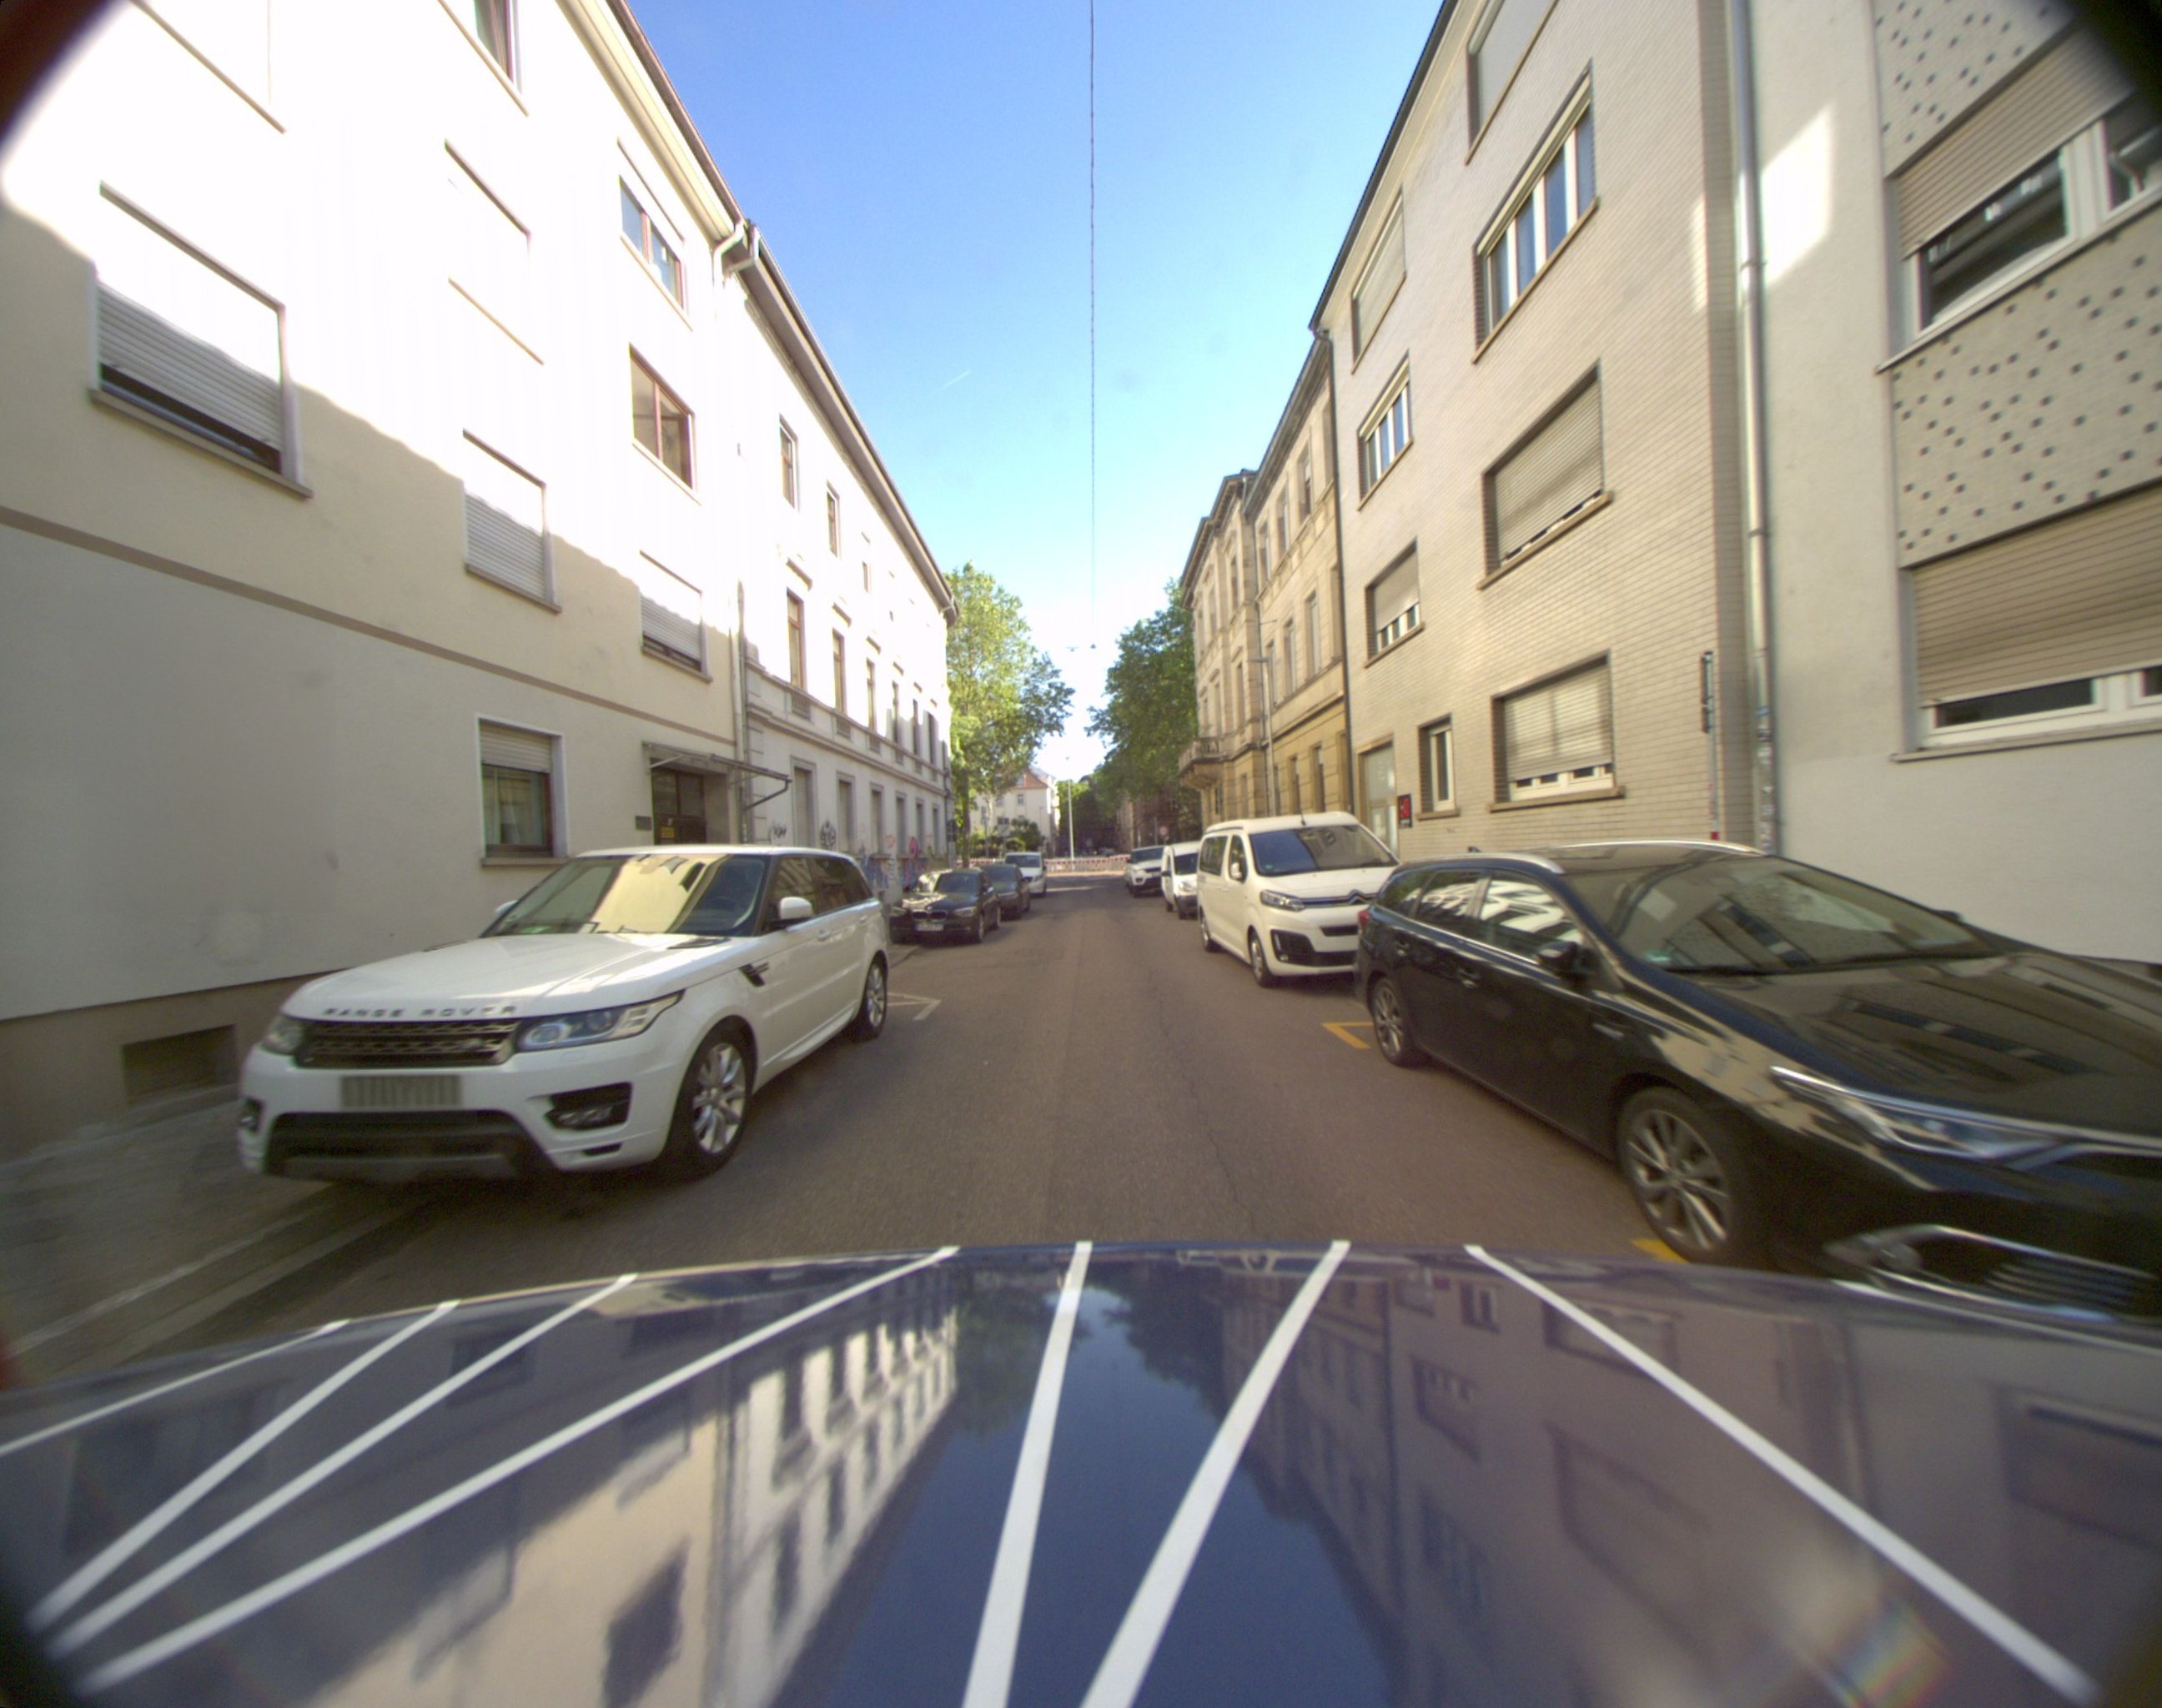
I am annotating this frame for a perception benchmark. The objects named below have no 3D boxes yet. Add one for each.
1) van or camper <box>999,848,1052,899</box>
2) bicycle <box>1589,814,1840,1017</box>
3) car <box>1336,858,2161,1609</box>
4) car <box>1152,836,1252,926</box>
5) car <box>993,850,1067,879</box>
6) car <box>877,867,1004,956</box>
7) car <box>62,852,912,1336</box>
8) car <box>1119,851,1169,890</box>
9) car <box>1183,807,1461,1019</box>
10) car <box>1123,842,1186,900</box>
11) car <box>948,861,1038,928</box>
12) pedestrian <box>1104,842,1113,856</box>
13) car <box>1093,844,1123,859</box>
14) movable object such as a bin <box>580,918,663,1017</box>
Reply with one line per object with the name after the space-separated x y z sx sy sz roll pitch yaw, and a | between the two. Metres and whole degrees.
-2.349 0.791 33.126 1.899 2.002 5.030 -3 0 -1 | van or camper
5.409 0.461 6.661 0.558 1.500 1.800 -5 1 -2 | bicycle
2.888 0.825 3.768 1.711 1.442 4.301 -4 1 0 | car
2.942 0.628 19.312 1.748 1.865 4.090 -6 0 1 | car
-3.334 0.704 49.726 4.491 1.694 2.016 -3 0 36 | car
-2.774 1.085 15.847 1.751 1.440 3.869 -5 0 1 | car
-2.832 0.931 5.386 2.010 1.773 4.939 -3 0 1 | car
2.958 0.749 36.416 1.872 1.552 3.941 -5 1 -1 | car
2.725 0.592 9.948 1.899 1.947 4.781 -5 0 -1 | car
2.776 0.611 29.715 2.027 2.002 4.543 -3 1 1 | car
-2.378 1.055 21.664 1.819 1.510 4.728 -5 0 1 | car
3.426 -0.628 93.791 0.761 1.651 0.826 -3 1 -27 | pedestrian
3.564 -0.346 100.453 3.800 1.726 1.623 -3 0 0 | car
-5.377 1.317 8.917 0.578 1.065 0.553 -2 1 4 | movable object such as a bin
